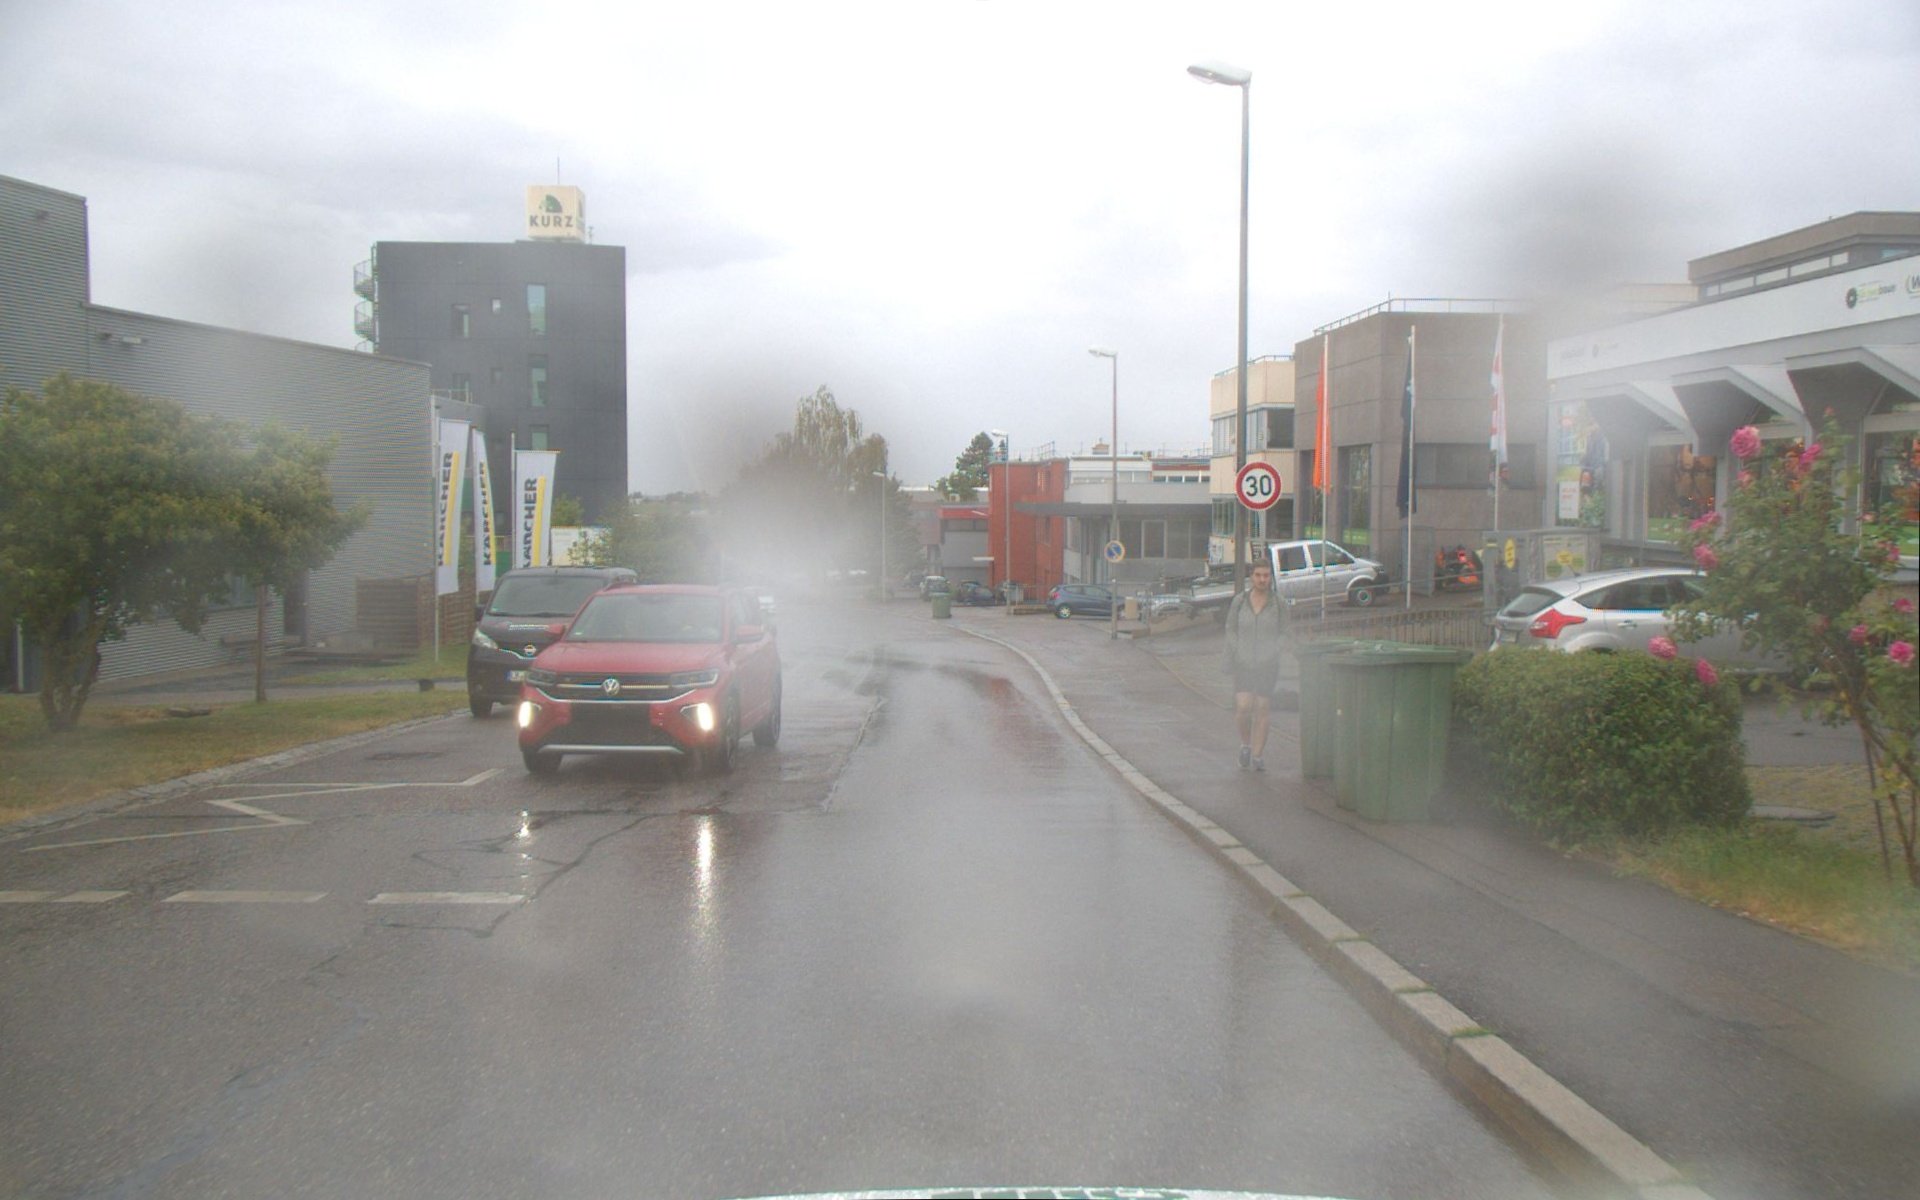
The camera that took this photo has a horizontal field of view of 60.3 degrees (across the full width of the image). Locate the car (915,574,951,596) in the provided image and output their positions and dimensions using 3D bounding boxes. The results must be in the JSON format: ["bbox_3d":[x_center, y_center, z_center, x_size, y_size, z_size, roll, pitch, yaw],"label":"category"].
[{"bbox_3d":[-2.022,-1.082,121.596,2.028,1.579,3.990,-1,0,-11],"label":"car"}]

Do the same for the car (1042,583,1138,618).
[{"bbox_3d":[5.470,0.035,69.733,3.817,1.408,1.819,1,0,-4],"label":"car"}]

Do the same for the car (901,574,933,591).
[{"bbox_3d":[-3.527,-1.468,136.160,2.500,1.375,1.240,-1,1,-8],"label":"car"}]

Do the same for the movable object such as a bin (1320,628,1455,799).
[{"bbox_3d":[2.838,0.739,11.034,0.728,1.085,0.636,0,0,-1],"label":"movable object such as a bin"}]

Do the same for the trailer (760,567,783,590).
[{"bbox_3d":[-17.317,-1.939,151.793,1.819,2.049,3.990,-1,1,-10],"label":"trailer"}]

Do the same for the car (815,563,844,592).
[{"bbox_3d":[-11.761,-1.964,148.532,2.153,2.502,3.989,-1,0,-11],"label":"car"}]

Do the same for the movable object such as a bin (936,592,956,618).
[{"bbox_3d":[-0.639,0.210,73.713,0.791,1.111,0.708,-1,1,-8],"label":"movable object such as a bin"}]

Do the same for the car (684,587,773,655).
[{"bbox_3d":[-5.912,0.525,42.689,1.919,1.604,4.836,-2,0,-4],"label":"car"}]

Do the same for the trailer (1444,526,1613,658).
[{"bbox_3d":[11.409,-0.207,33.491,1.848,2.458,4.308,-1,1,-1],"label":"trailer"}]

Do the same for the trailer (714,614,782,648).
[{"bbox_3d":[-5.999,0.859,47.068,1.647,0.904,3.894,-1,0,-4],"label":"trailer"}]

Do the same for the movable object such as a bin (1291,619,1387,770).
[{"bbox_3d":[2.982,0.724,13.010,0.713,1.133,0.704,0,0,13],"label":"movable object such as a bin"}]

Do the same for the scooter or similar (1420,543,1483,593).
[{"bbox_3d":[13.397,-0.885,45.156,1.043,1.245,2.065,-4,2,0],"label":"scooter or similar"}]

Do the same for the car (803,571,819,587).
[{"bbox_3d":[-13.851,-1.978,154.017,1.266,1.449,2.541,-1,0,-9],"label":"car"}]

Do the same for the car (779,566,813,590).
[{"bbox_3d":[-14.685,-1.974,147.932,2.230,2.049,3.979,-1,0,-18],"label":"car"}]

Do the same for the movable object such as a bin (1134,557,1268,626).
[{"bbox_3d":[7.956,-0.279,54.869,4.169,2.147,1.476,-1,1,-2],"label":"movable object such as a bin"}]

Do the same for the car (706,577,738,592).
[{"bbox_3d":[-27.757,-1.812,192.670,2.434,1.566,3.961,-1,0,-29],"label":"car"}]

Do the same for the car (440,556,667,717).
[{"bbox_3d":[-5.166,0.415,21.689,1.877,1.863,4.846,0,0,-1],"label":"car"}]

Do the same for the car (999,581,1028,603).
[{"bbox_3d":[3.665,-0.566,114.257,1.694,1.446,3.997,-1,0,-3],"label":"car"}]

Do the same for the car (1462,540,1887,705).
[{"bbox_3d":[8.230,0.246,19.318,4.039,1.601,2.002,-3,0,-3],"label":"car"}]

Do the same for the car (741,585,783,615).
[{"bbox_3d":[-10.816,0.031,90.289,1.740,1.539,4.129,-2,0,-14],"label":"car"}]

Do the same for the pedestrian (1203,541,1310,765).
[{"bbox_3d":[2.439,0.424,13.677,0.721,1.798,0.808,0,0,-1],"label":"pedestrian"}]

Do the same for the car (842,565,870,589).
[{"bbox_3d":[-9.420,-2.057,149.646,2.106,2.049,3.931,-1,0,-9],"label":"car"}]

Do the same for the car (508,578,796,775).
[{"bbox_3d":[-2.589,0.606,14.824,1.711,1.535,3.936,0,0,2],"label":"car"}]

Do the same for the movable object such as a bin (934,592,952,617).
[{"bbox_3d":[-0.767,0.210,74.354,0.760,1.094,0.582,-1,1,-8],"label":"movable object such as a bin"}]

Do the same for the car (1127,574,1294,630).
[{"bbox_3d":[7.985,0.052,52.975,4.990,1.642,1.924,-1,1,-4],"label":"car"}]

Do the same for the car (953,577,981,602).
[{"bbox_3d":[0.442,-0.689,114.730,1.704,1.682,3.997,-1,0,-3],"label":"car"}]

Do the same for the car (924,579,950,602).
[{"bbox_3d":[-1.597,-0.639,114.139,1.663,1.501,3.997,-1,0,-3],"label":"car"}]

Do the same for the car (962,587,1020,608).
[{"bbox_3d":[1.776,-0.169,96.473,3.331,1.183,1.791,-1,1,-1],"label":"car"}]

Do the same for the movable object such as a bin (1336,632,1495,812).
[{"bbox_3d":[2.819,0.735,10.298,0.756,1.048,0.808,0,0,-1],"label":"movable object such as a bin"}]

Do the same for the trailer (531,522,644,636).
[{"bbox_3d":[-14.461,-0.772,64.094,4.102,4.276,1.999,-1,0,36],"label":"trailer"}]

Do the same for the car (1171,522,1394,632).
[{"bbox_3d":[8.467,-0.592,43.721,5.197,2.047,2.220,-9,0,-3],"label":"car"}]

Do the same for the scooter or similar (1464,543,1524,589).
[{"bbox_3d":[14.591,-0.926,45.266,0.983,1.175,1.845,-4,1,0],"label":"scooter or similar"}]
